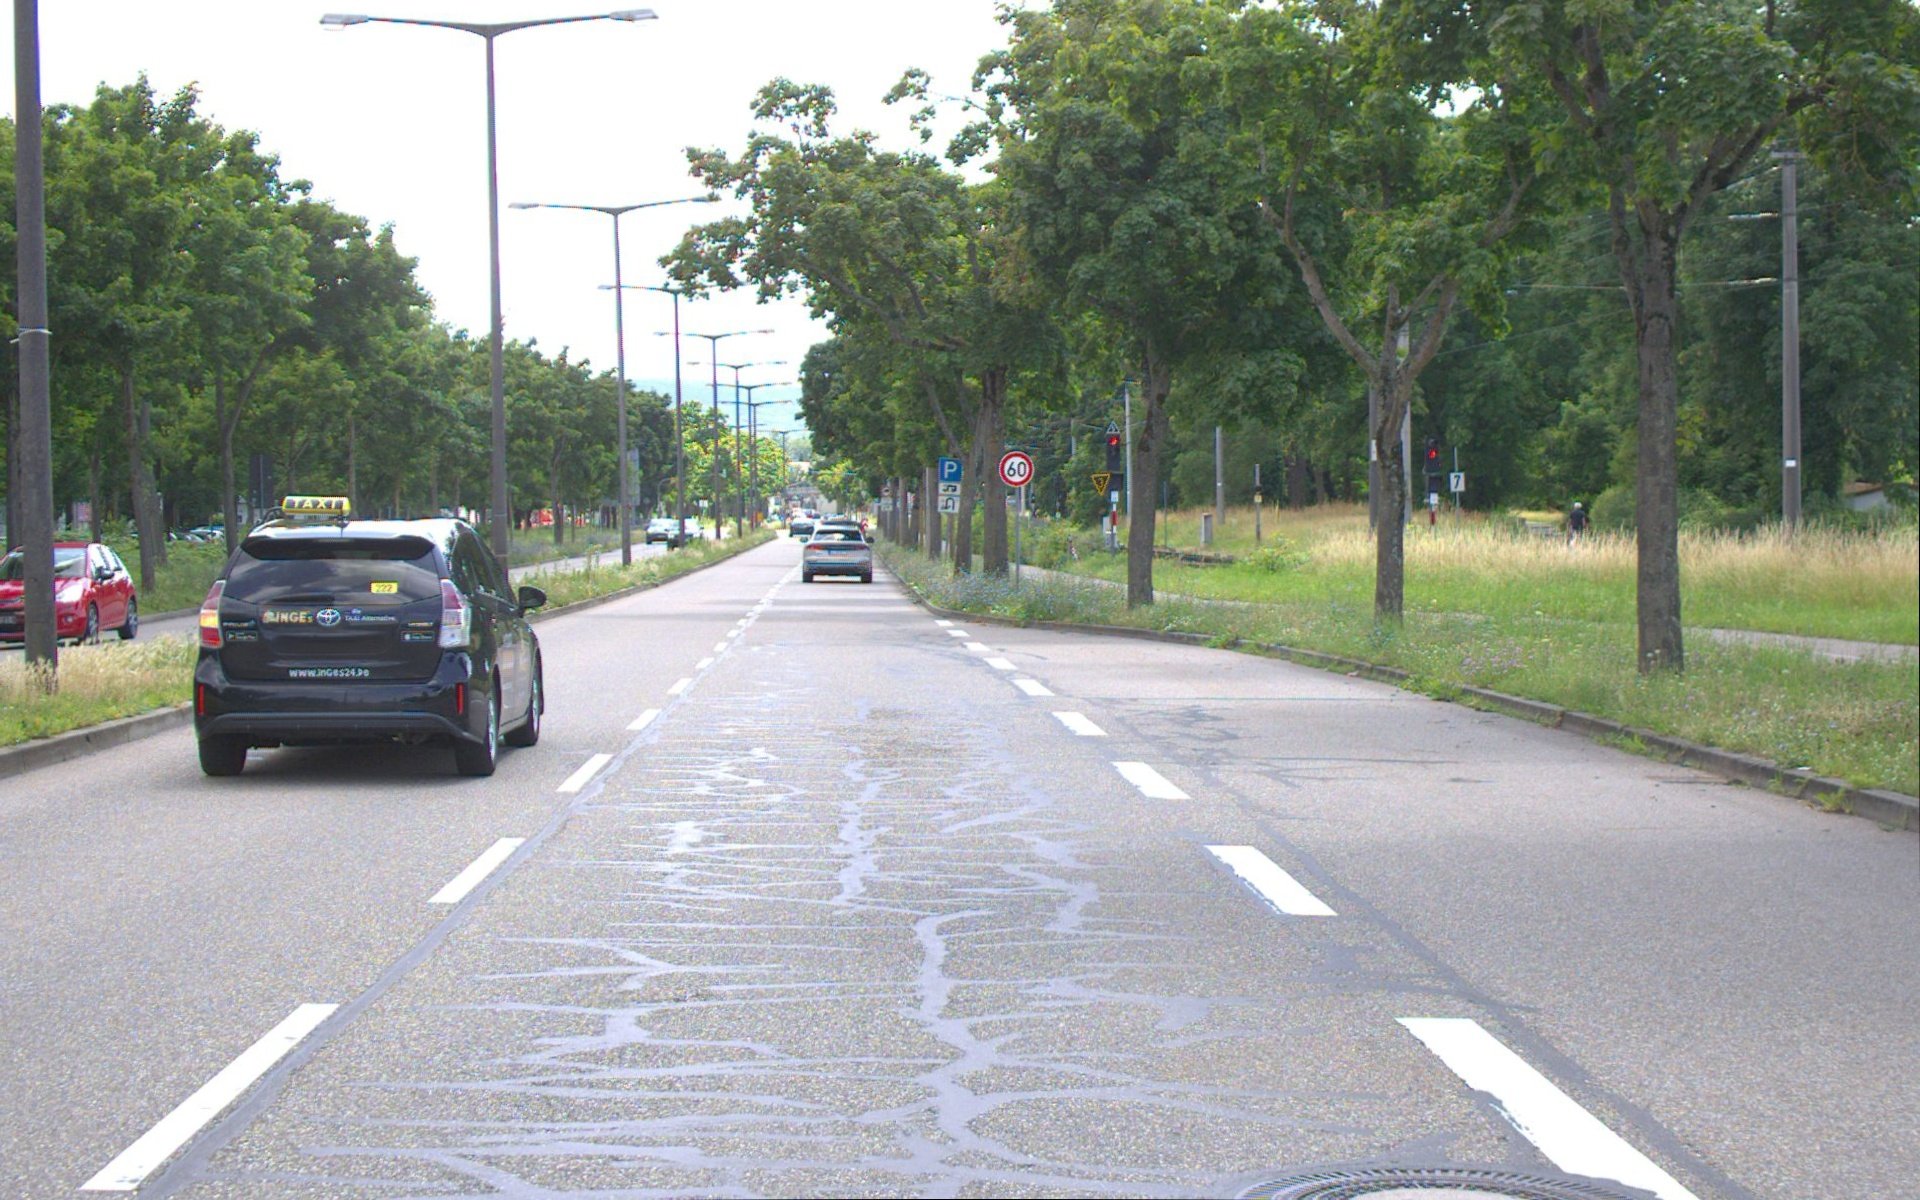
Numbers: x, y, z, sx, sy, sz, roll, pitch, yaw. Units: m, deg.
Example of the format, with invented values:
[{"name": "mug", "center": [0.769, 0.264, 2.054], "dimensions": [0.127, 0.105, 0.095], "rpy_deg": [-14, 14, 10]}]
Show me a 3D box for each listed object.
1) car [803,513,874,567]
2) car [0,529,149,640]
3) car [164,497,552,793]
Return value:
[{"name": "car", "center": [-3.539, -1.752, 99.409], "dimensions": [1.993, 1.503, 4.001], "rpy_deg": [1, 2, -2]}, {"name": "car", "center": [-13.359, -0.254, 50.444], "dimensions": [1.879, 1.503, 3.797], "rpy_deg": [1, 2, 2]}, {"name": "car", "center": [-3.703, 0.200, 21.775], "dimensions": [1.779, 1.678, 4.000], "rpy_deg": [1, 2, -1]}]
